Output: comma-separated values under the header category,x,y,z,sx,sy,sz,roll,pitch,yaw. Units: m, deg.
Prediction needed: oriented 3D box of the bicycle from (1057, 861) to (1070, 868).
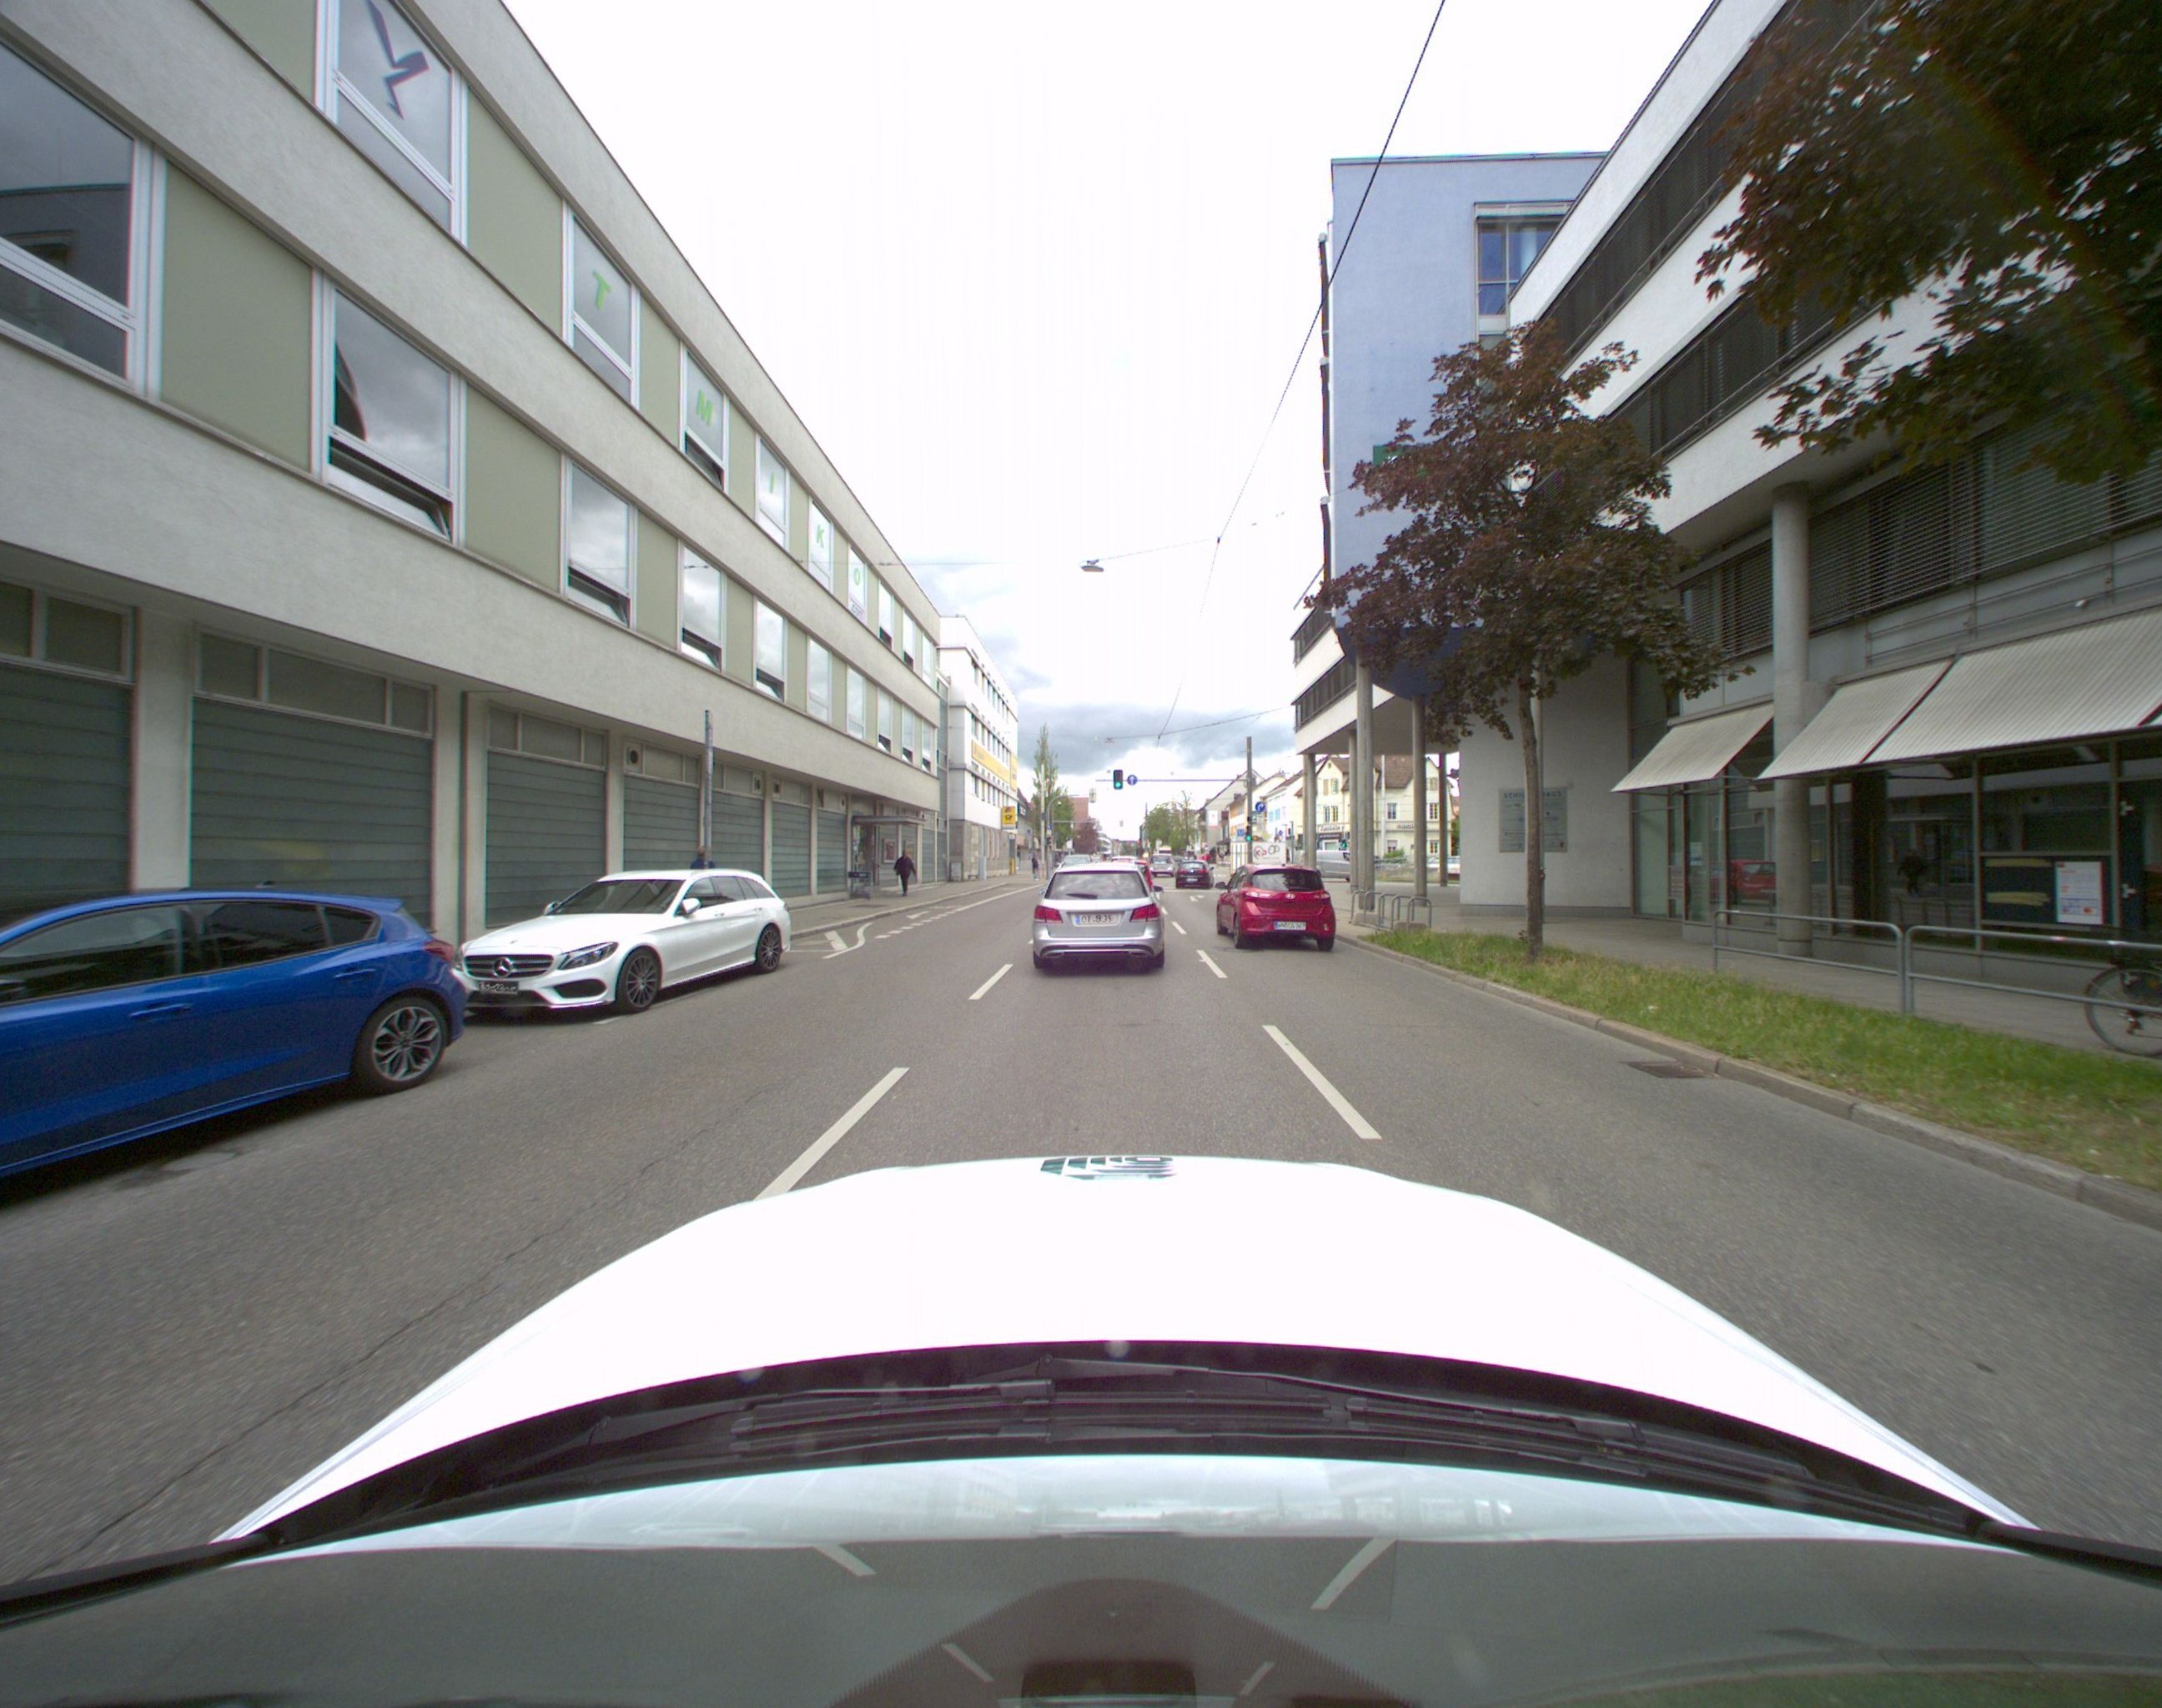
category,x,y,z,sx,sy,sz,roll,pitch,yaw
bicycle,-2.814,1.664,131.376,1.936,1.029,0.529,1,-1,-7

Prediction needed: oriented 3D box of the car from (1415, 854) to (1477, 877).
category,x,y,z,sx,sy,sz,roll,pitch,yaw
car,32.735,1.010,73.197,1.999,1.919,4.731,2,-1,-36

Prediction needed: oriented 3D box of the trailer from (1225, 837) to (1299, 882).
category,x,y,z,sx,sy,sz,roll,pitch,yaw
trailer,11.168,0.359,50.083,4.337,2.613,1.865,2,0,-32

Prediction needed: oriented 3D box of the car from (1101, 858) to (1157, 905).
category,x,y,z,sx,sy,sz,roll,pitch,yaw
car,1.591,0.889,28.263,1.728,1.508,4.000,0,0,0

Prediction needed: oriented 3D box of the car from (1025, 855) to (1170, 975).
category,x,y,z,sx,sy,sz,roll,pitch,yaw
car,0.241,0.791,12.487,1.839,1.508,4.171,-1,0,1

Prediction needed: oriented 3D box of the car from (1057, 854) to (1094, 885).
category,x,y,z,sx,sy,sz,roll,pitch,yaw
car,-0.247,0.837,46.480,1.768,1.632,4.772,-1,0,3

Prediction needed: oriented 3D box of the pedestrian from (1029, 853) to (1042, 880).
category,x,y,z,sx,sy,sz,roll,pitch,yaw
pedestrian,-2.902,0.776,52.110,0.644,1.718,0.785,1,0,10

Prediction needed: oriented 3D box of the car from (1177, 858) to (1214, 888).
category,x,y,z,sx,sy,sz,roll,pitch,yaw
car,5.935,0.958,41.820,1.724,1.410,4.011,-1,0,10

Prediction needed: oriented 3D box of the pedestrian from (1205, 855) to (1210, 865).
category,x,y,z,sx,sy,sz,roll,pitch,yaw
pedestrian,18.040,0.832,116.117,0.577,1.469,0.649,1,-1,-9

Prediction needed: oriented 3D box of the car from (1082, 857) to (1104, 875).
category,x,y,z,sx,sy,sz,roll,pitch,yaw
car,1.058,1.002,68.532,1.650,1.466,3.924,-1,0,3

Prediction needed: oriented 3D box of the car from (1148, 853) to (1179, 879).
category,x,y,z,sx,sy,sz,roll,pitch,yaw
car,5.968,0.832,58.620,1.723,1.759,4.013,-1,0,12

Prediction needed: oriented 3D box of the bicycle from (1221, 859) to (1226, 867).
category,x,y,z,sx,sy,sz,roll,pitch,yaw
bicycle,19.037,1.161,109.088,0.446,1.107,2.151,-1,0,4

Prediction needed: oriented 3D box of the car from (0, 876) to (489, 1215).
category,x,y,z,sx,sy,sz,roll,pitch,yaw
car,-5.648,0.913,4.168,1.806,1.426,4.270,-2,0,5

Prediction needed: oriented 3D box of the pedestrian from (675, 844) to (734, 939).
category,x,y,z,sx,sy,sz,roll,pitch,yaw
pedestrian,-7.070,0.677,15.329,0.587,1.718,1.055,-1,0,1

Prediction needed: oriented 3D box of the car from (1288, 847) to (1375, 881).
category,x,y,z,sx,sy,sz,roll,pitch,yaw
car,15.733,0.634,51.309,4.884,1.945,1.880,2,0,-7

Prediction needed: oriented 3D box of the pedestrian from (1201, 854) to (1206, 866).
category,x,y,z,sx,sy,sz,roll,pitch,yaw
pedestrian,17.932,0.874,119.334,0.579,1.666,0.648,1,-1,-14

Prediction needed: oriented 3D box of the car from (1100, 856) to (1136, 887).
category,x,y,z,sx,sy,sz,roll,pitch,yaw
car,1.854,0.883,42.083,1.728,1.508,4.000,-1,0,1

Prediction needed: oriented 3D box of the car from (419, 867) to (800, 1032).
category,x,y,z,sx,sy,sz,roll,pitch,yaw
car,-5.229,0.937,9.921,1.662,1.434,4.558,-2,0,5

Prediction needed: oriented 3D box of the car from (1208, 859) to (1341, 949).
category,x,y,z,sx,sy,sz,roll,pitch,yaw
car,3.548,0.850,15.652,1.692,1.452,4.002,2,0,2

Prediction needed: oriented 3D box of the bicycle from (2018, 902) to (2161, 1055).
category,x,y,z,sx,sy,sz,roll,pitch,yaw
bicycle,8.208,0.953,5.979,0.359,1.086,2.027,1,0,1

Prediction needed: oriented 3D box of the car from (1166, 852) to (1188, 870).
category,x,y,z,sx,sy,sz,roll,pitch,yaw
car,9.638,0.671,81.868,1.822,1.785,4.001,0,0,1

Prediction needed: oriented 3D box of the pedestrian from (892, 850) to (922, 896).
category,x,y,z,sx,sy,sz,roll,pitch,yaw
pedestrian,-6.590,0.710,30.824,0.859,1.718,1.031,1,0,0

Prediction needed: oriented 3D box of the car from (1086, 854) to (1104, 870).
category,x,y,z,sx,sy,sz,roll,pitch,yaw
car,1.613,0.910,89.763,1.792,1.694,3.901,-1,0,3
